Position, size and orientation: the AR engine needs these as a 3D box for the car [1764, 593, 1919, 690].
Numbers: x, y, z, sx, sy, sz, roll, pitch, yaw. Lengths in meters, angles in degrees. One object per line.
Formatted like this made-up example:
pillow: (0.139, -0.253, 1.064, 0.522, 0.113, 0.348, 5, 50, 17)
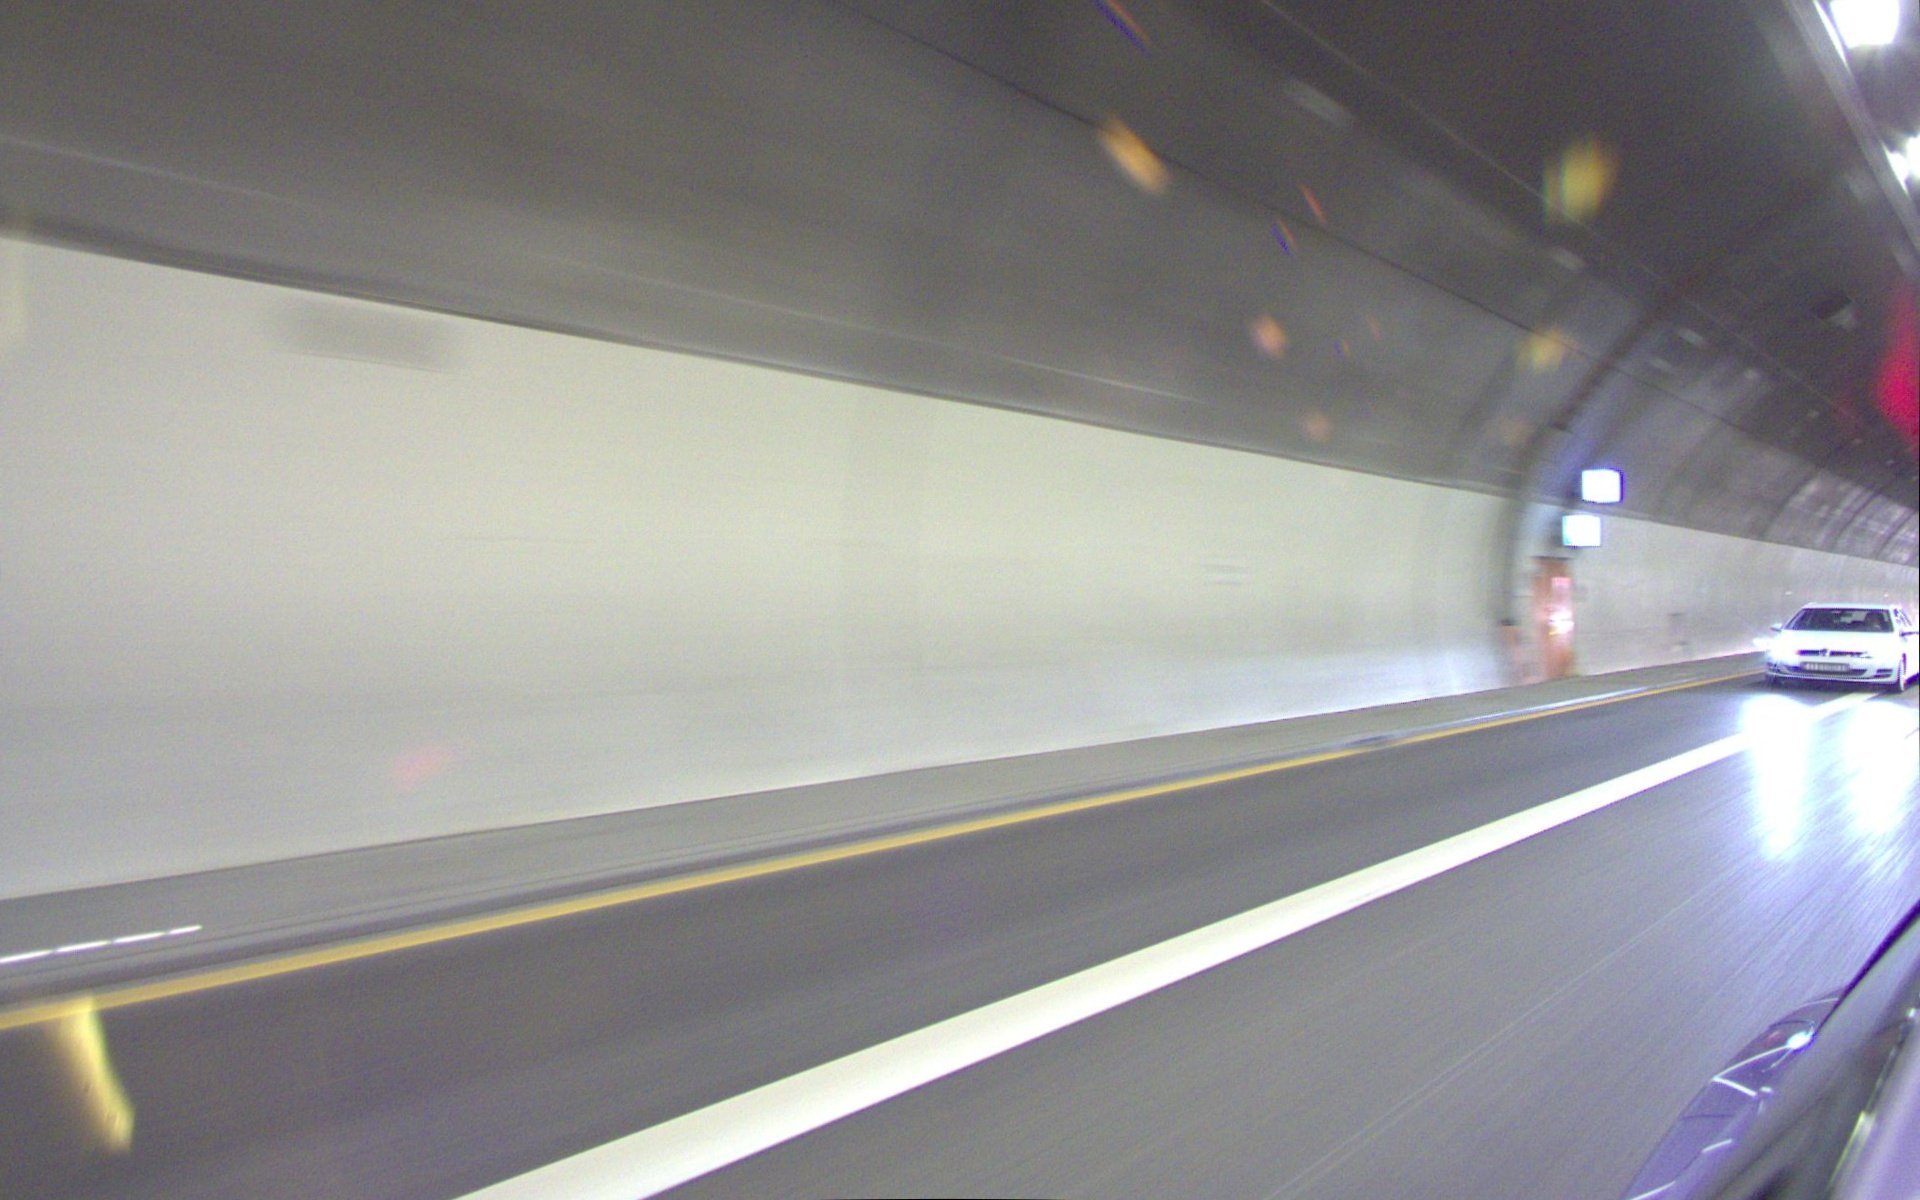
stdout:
car: (15.578, 0.632, 17.551, 3.962, 1.479, 1.801, 0, 0, -40)
